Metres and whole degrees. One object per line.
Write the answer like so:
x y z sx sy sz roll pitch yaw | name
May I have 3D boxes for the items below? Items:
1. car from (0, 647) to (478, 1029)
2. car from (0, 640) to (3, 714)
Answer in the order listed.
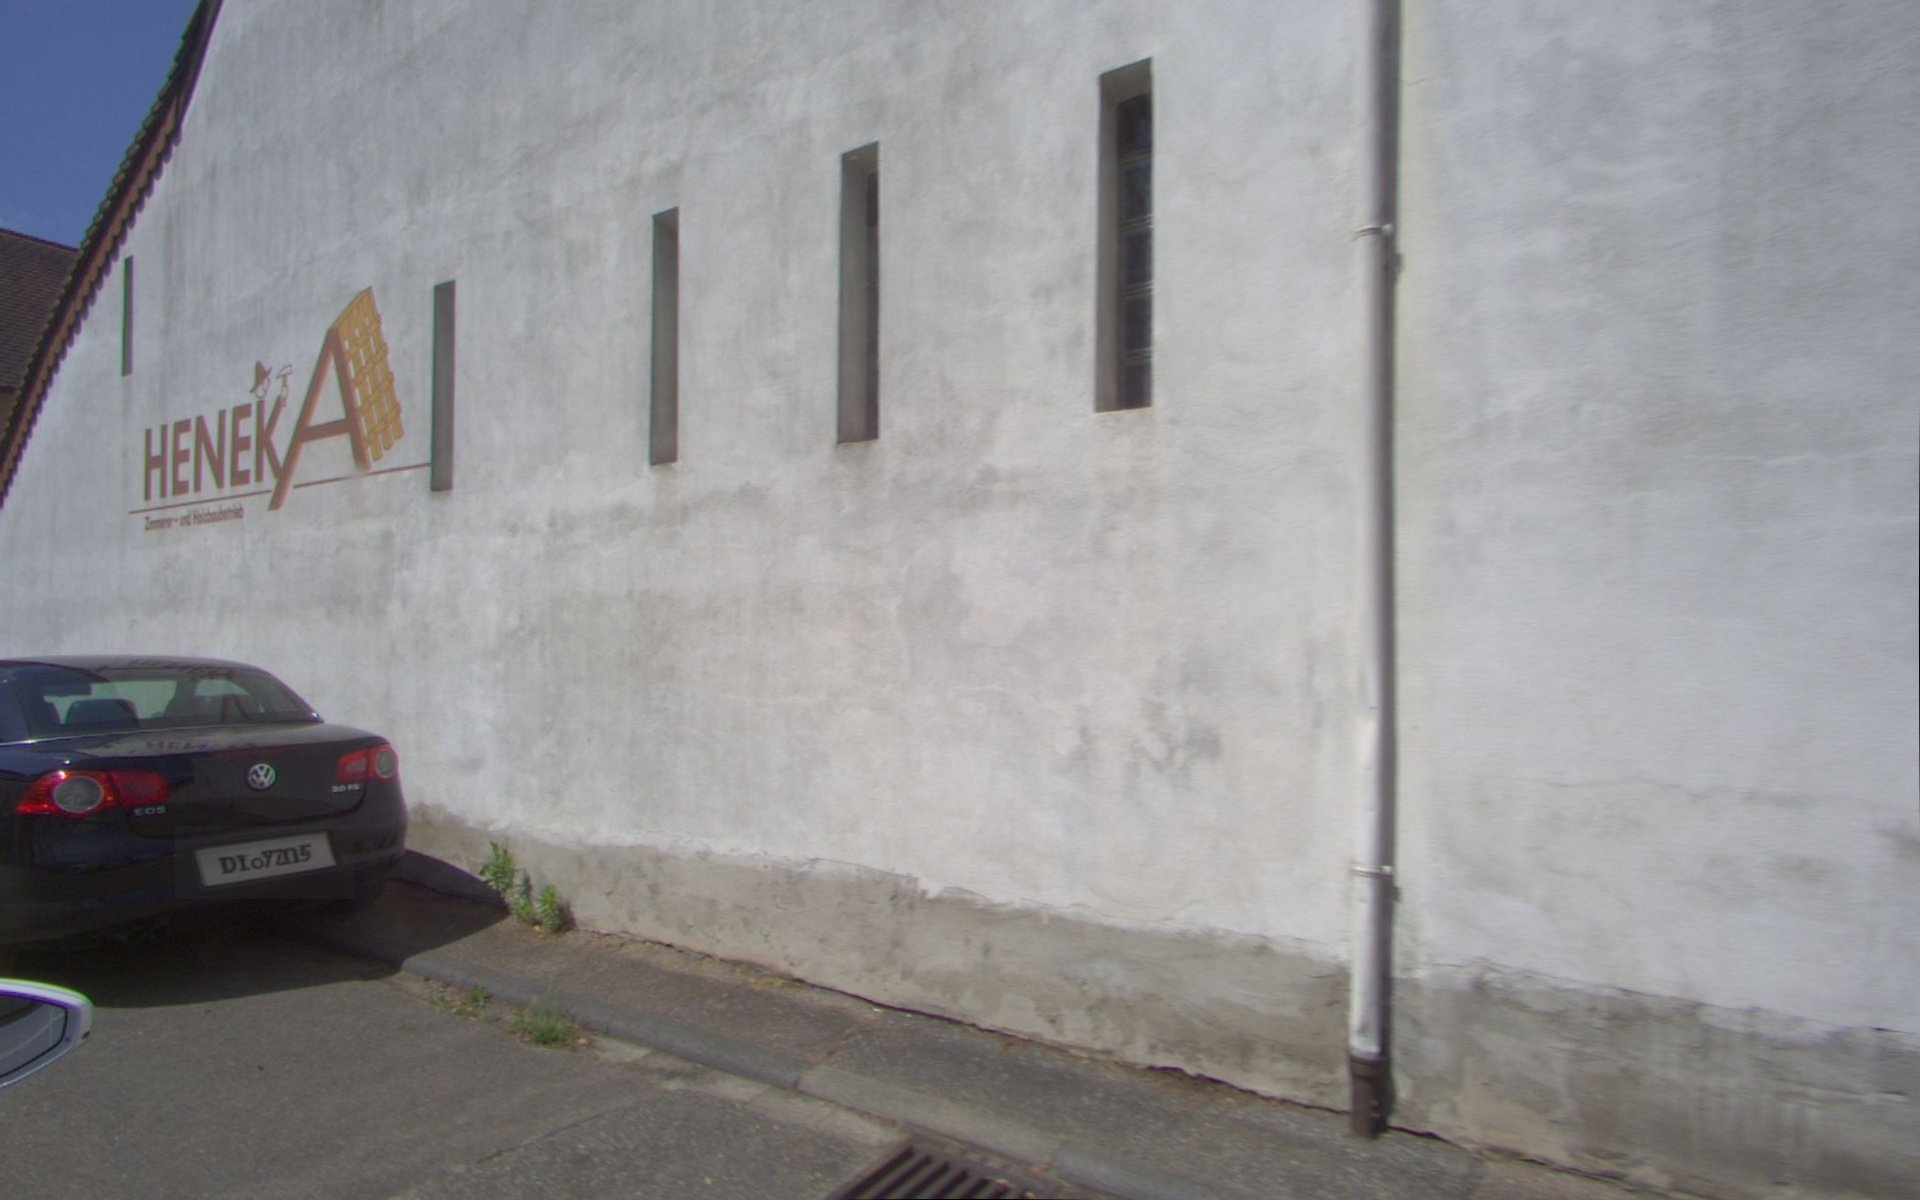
-4.895 0.980 5.698 4.352 1.382 1.892 -1 -3 33 | car
-11.605 1.060 9.886 4.667 1.382 1.894 -1 -3 30 | car
